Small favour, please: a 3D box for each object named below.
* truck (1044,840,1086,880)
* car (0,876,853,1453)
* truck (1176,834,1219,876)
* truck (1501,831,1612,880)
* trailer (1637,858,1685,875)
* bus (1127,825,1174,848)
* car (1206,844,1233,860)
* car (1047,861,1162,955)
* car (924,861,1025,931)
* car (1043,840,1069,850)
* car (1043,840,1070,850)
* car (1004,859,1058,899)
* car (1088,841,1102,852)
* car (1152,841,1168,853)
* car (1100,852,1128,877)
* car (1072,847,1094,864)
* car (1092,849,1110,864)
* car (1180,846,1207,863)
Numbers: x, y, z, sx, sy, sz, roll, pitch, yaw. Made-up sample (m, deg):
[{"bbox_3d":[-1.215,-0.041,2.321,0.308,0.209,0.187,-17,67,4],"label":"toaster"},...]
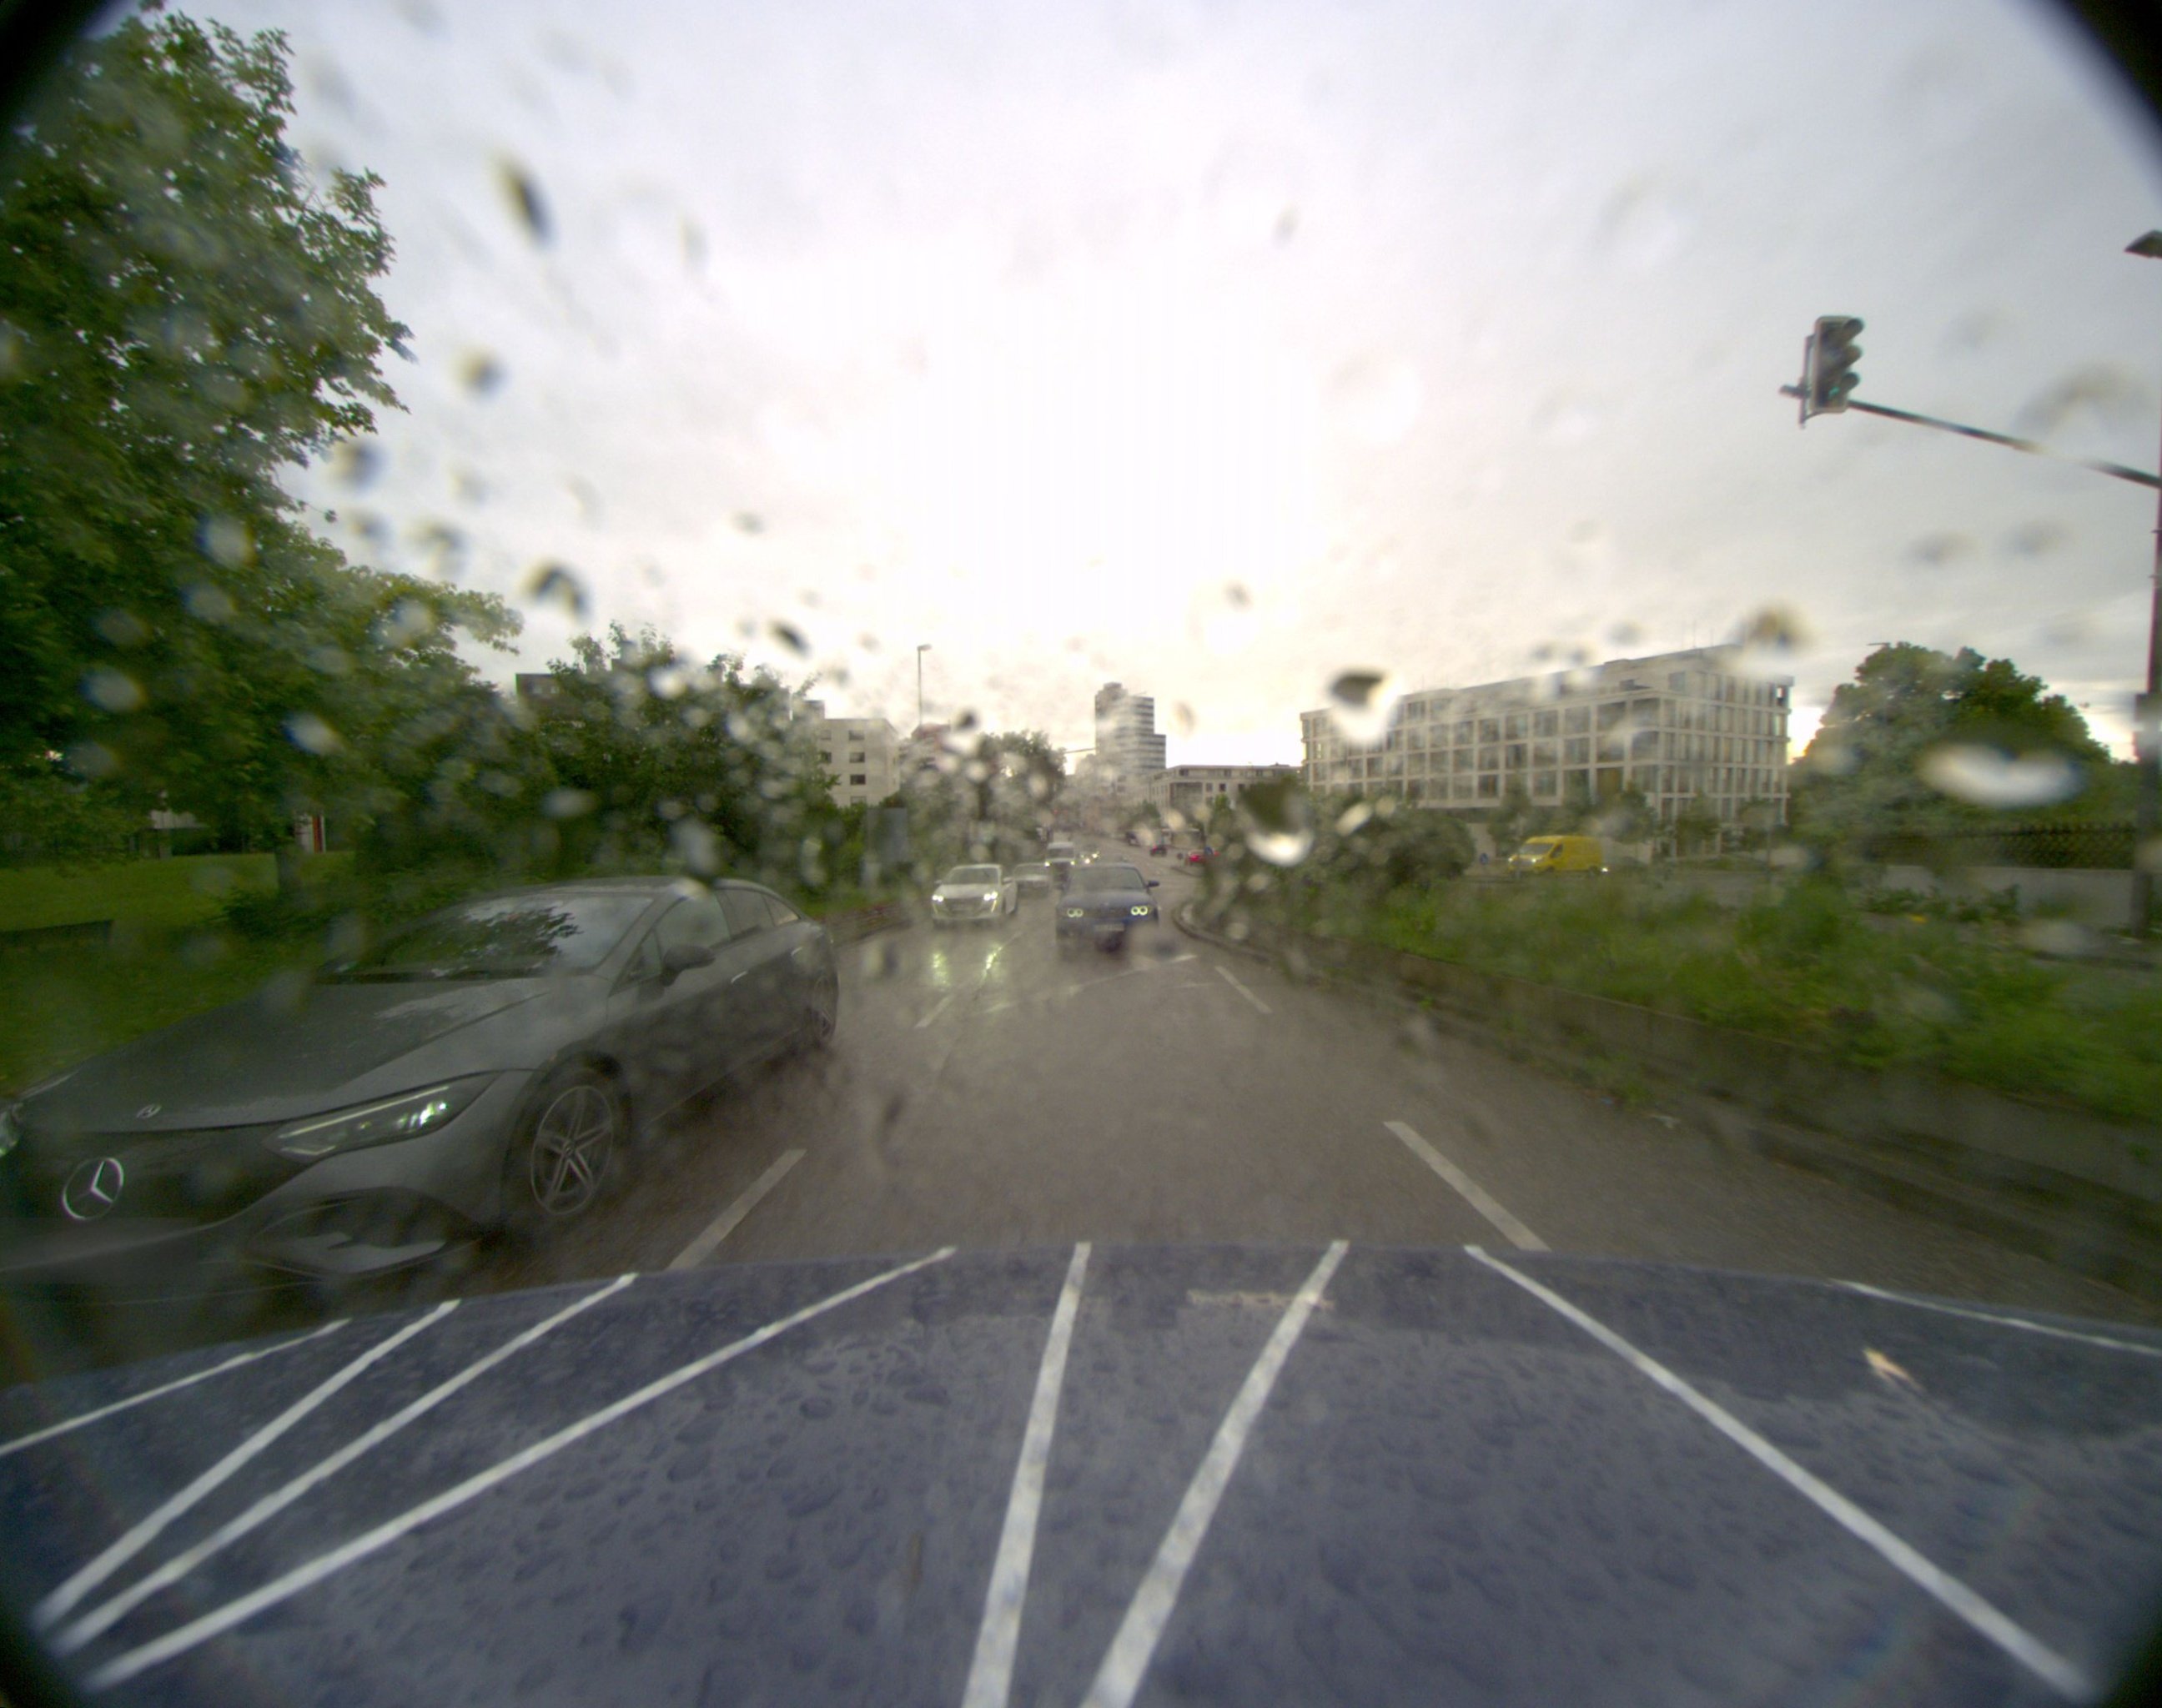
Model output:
[{"bbox_3d":[-0.979,0.323,50.568,2.168,2.425,6.200,-1,1,4],"label":"truck"},{"bbox_3d":[-3.057,0.994,4.475,1.836,1.436,4.550,-3,1,2],"label":"car"},{"bbox_3d":[7.392,-0.007,48.849,2.168,2.425,6.200,-1,1,4],"label":"truck"},{"bbox_3d":[26.021,0.080,41.535,6.185,2.524,2.223,0,2,-27],"label":"truck"},{"bbox_3d":[36.458,0.772,47.747,2.290,0.973,1.604,0,2,-30],"label":"trailer"},{"bbox_3d":[12.547,-3.220,139.311,2.954,3.972,18.202,0,1,-13],"label":"bus"},{"bbox_3d":[13.659,-0.237,75.258,1.955,1.470,4.295,1,1,1],"label":"car"},{"bbox_3d":[0.494,0.882,13.896,1.786,1.335,3.705,-2,1,4],"label":"car"},{"bbox_3d":[-2.591,0.987,19.436,1.717,1.389,4.036,-3,1,4],"label":"car"},{"bbox_3d":[-4.027,-1.394,120.868,3.999,1.412,1.701,-3,2,-6],"label":"car"},{"bbox_3d":[-3.878,-1.407,118.868,3.999,1.412,1.998,-3,2,-6],"label":"car"},{"bbox_3d":[-2.011,0.983,31.594,1.717,1.369,3.735,-3,1,4],"label":"car"},{"bbox_3d":[2.115,-1.096,114.116,1.998,1.543,4.000,-2,0,1],"label":"car"},{"bbox_3d":[10.347,-0.927,99.479,1.907,1.543,4.075,0,1,3],"label":"car"},{"bbox_3d":[2.167,0.651,49.173,1.717,1.369,3.735,-3,1,4],"label":"car"},{"bbox_3d":[0.197,0.164,72.284,1.998,1.543,4.000,-1,0,1],"label":"car"},{"bbox_3d":[2.294,0.281,88.203,1.998,1.543,4.000,-2,0,1],"label":"car"},{"bbox_3d":[10.387,0.055,70.389,1.998,1.406,4.431,-1,1,3],"label":"car"}]
